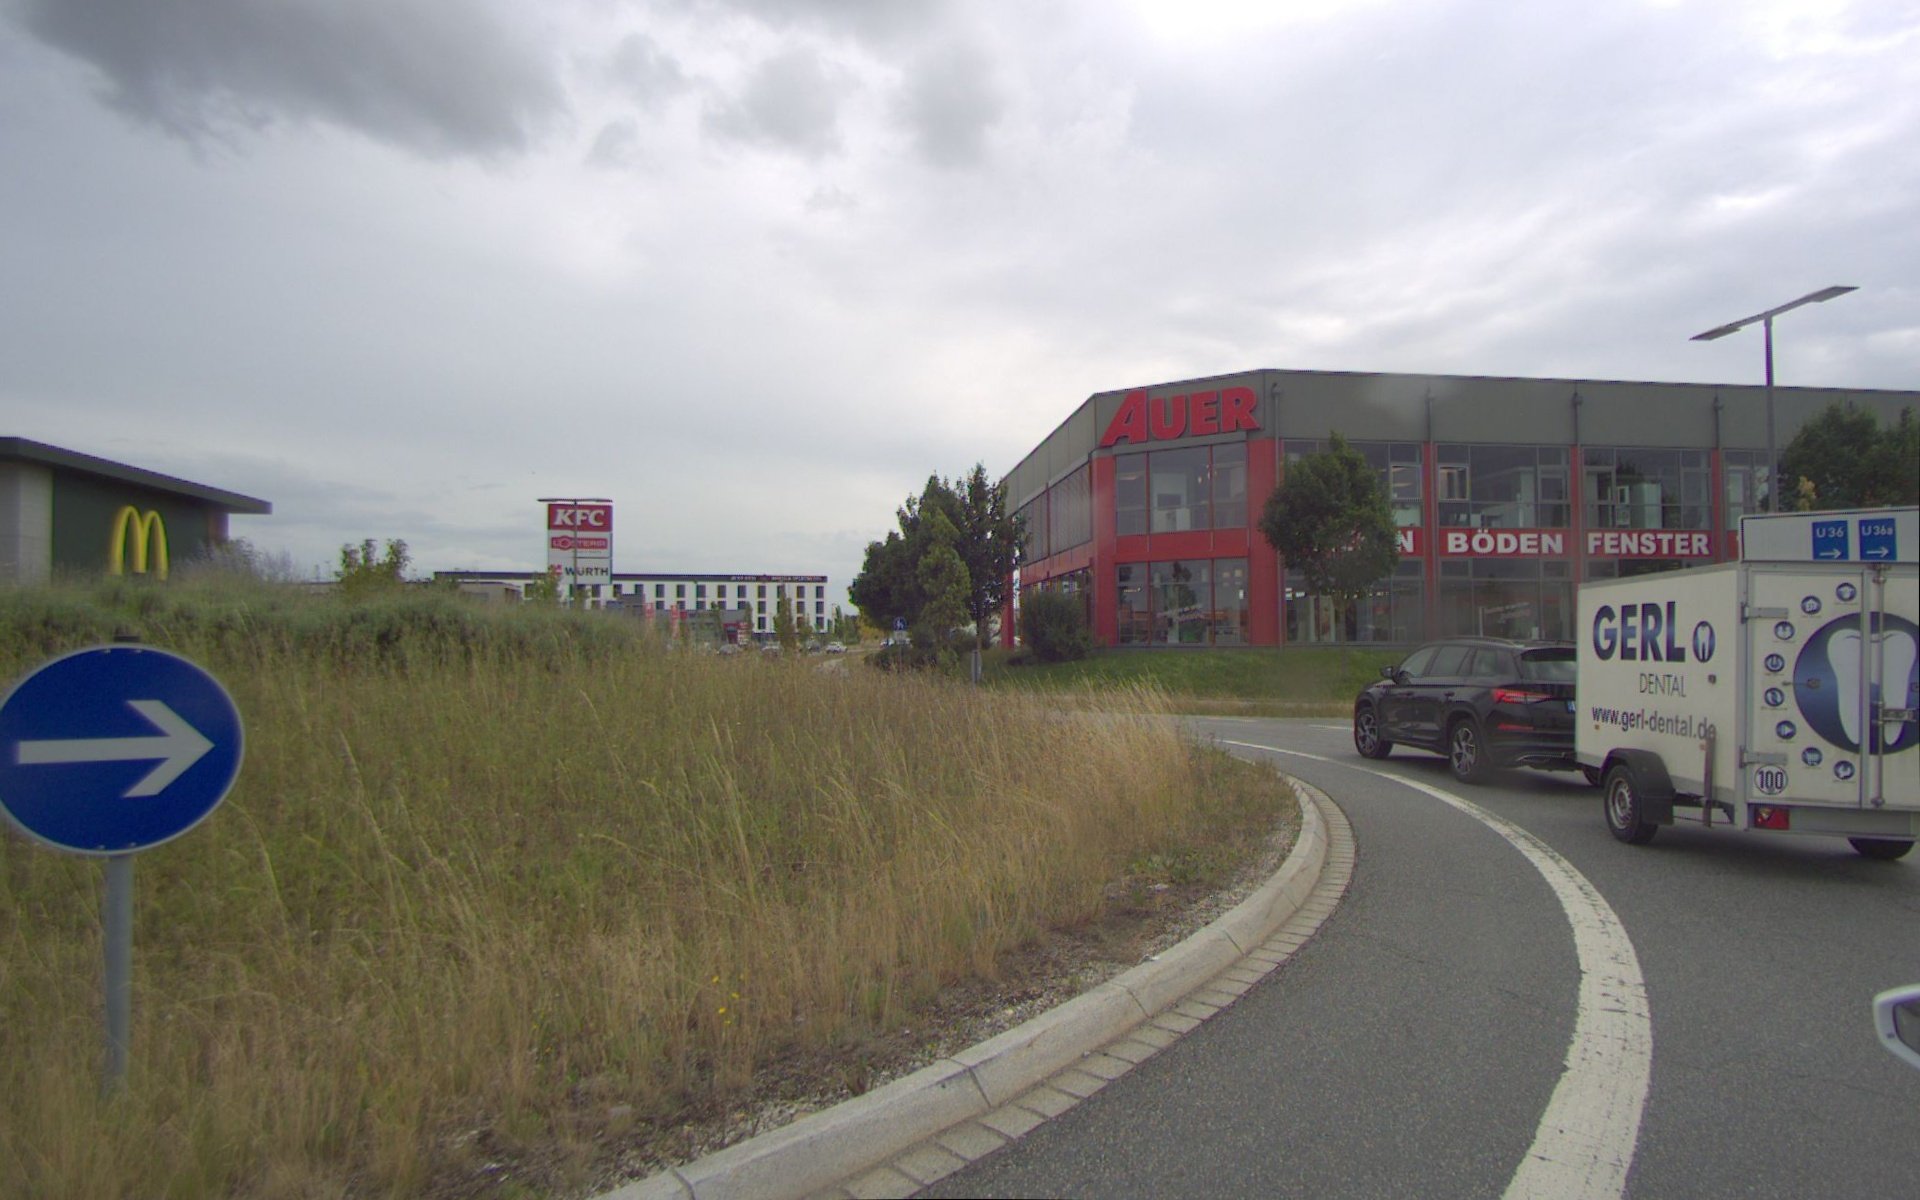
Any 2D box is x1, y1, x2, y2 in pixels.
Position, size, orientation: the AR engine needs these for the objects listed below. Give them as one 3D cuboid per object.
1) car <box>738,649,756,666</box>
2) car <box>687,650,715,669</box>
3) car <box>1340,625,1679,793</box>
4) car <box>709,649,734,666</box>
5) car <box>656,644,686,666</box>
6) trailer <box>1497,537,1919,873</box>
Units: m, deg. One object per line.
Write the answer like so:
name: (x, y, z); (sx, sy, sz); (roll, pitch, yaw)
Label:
car: (-26.662, 7.151, 125.670); (1.741, 2.040, 3.997); (1, -2, -6)
car: (-24.177, 5.526, 94.030); (1.963, 1.654, 3.996); (1, -2, -7)
car: (6.501, 1.253, 12.604); (1.781, 1.691, 4.618); (1, -3, 1)
car: (-24.910, 6.022, 105.123); (1.962, 1.654, 3.998); (1, -2, -5)
car: (-23.620, 4.482, 82.251); (1.907, 1.617, 3.765); (1, -2, -10)
trailer: (6.142, 0.734, 8.459); (1.776, 2.119, 4.149); (0, -2, 12)
